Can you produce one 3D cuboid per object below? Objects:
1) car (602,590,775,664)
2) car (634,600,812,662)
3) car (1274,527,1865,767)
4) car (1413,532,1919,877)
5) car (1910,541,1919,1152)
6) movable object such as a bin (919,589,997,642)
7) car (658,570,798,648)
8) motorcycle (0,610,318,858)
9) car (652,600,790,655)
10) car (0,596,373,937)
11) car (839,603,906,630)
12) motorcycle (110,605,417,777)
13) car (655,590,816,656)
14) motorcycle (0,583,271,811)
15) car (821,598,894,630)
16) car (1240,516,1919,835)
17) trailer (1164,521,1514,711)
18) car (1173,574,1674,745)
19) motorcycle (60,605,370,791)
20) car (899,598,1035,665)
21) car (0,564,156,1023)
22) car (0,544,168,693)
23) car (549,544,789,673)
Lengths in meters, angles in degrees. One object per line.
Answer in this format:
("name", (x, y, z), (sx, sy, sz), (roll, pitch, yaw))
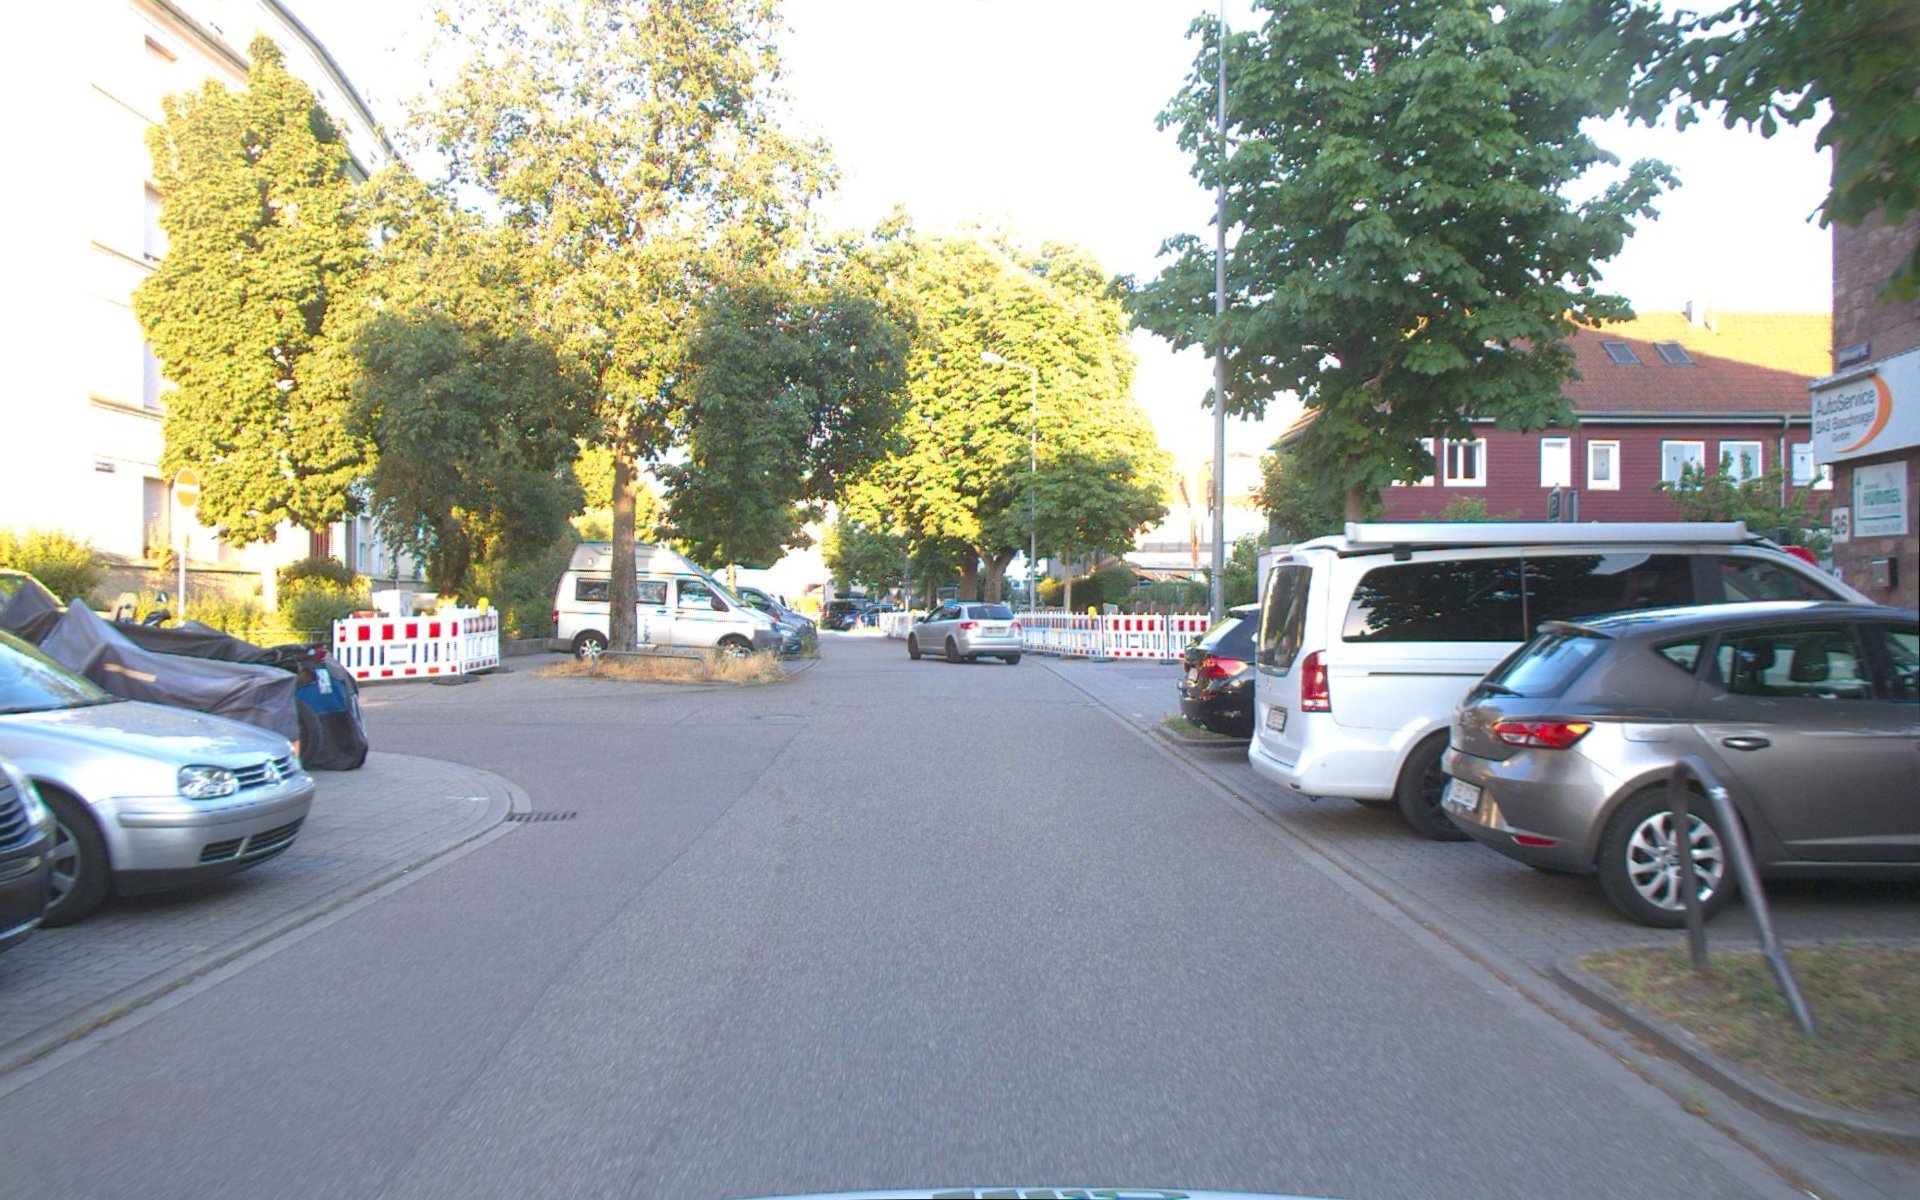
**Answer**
("car", (-6.224, 0.629, 38.206), (3.728, 1.549, 1.651), (2, -1, -3))
("car", (-5.820, 0.760, 40.938), (4.158, 1.418, 1.684), (1, -1, -1))
("car", (4.888, 0.367, 13.713), (4.212, 1.831, 1.904), (0, 0, 0))
("car", (4.466, 0.476, 8.306), (3.905, 1.536, 1.776), (0, 0, 0))
("car", (4.477, 0.650, 3.566), (3.867, 1.593, 1.819), (0, 0, -3))
("movable object such as a bin", (-0.157, 0.724, 79.091), (2.584, 2.445, 5.178), (0, 0, -14))
("car", (-7.510, 0.294, 53.806), (4.416, 2.473, 1.997), (0, 0, -7))
("motorcycle", (-5.086, 0.800, 10.211), (1.946, 1.461, 0.721), (0, -1, -5))
("car", (-6.621, 0.762, 46.148), (3.696, 1.464, 1.653), (1, -1, -6))
("car", (-5.108, 0.749, 8.372), (3.636, 1.532, 1.690), (0, 0, 2))
("car", (-5.582, 1.066, 105.303), (3.928, 1.680, 1.754), (0, 0, -20))
("motorcycle", (-6.132, 0.779, 14.645), (2.333, 1.461, 0.881), (0, -1, 3))
("car", (-6.577, 0.671, 48.767), (4.584, 1.906, 1.997), (0, 0, -7))
("motorcycle", (-6.344, 0.690, 12.204), (2.184, 1.610, 0.774), (0, -1, 3))
("car", (-6.828, 0.946, 110.133), (4.485, 2.058, 2.091), (0, 0, -18))
("car", (4.010, 0.469, 11.147), (3.905, 1.937, 2.000), (0, 0, -1))
("trailer", (4.618, 0.190, 20.598), (3.905, 2.226, 2.000), (0, 0, 0))
("car", (4.330, 0.543, 15.924), (4.336, 1.525, 1.773), (0, 0, 0))
("motorcycle", (-6.066, 0.775, 13.530), (2.184, 1.461, 0.774), (0, -1, 3))
("car", (0.111, 0.721, 39.614), (1.784, 1.514, 3.969), (0, 0, -24))
("car", (-5.310, 0.670, 6.025), (3.904, 1.611, 1.729), (0, 0, 2))
("car", (-14.174, 0.252, 23.879), (4.483, 2.049, 2.000), (0, 0, -1))
("car", (-6.030, 0.177, 34.706), (4.634, 2.614, 2.000), (0, 0, 0))
